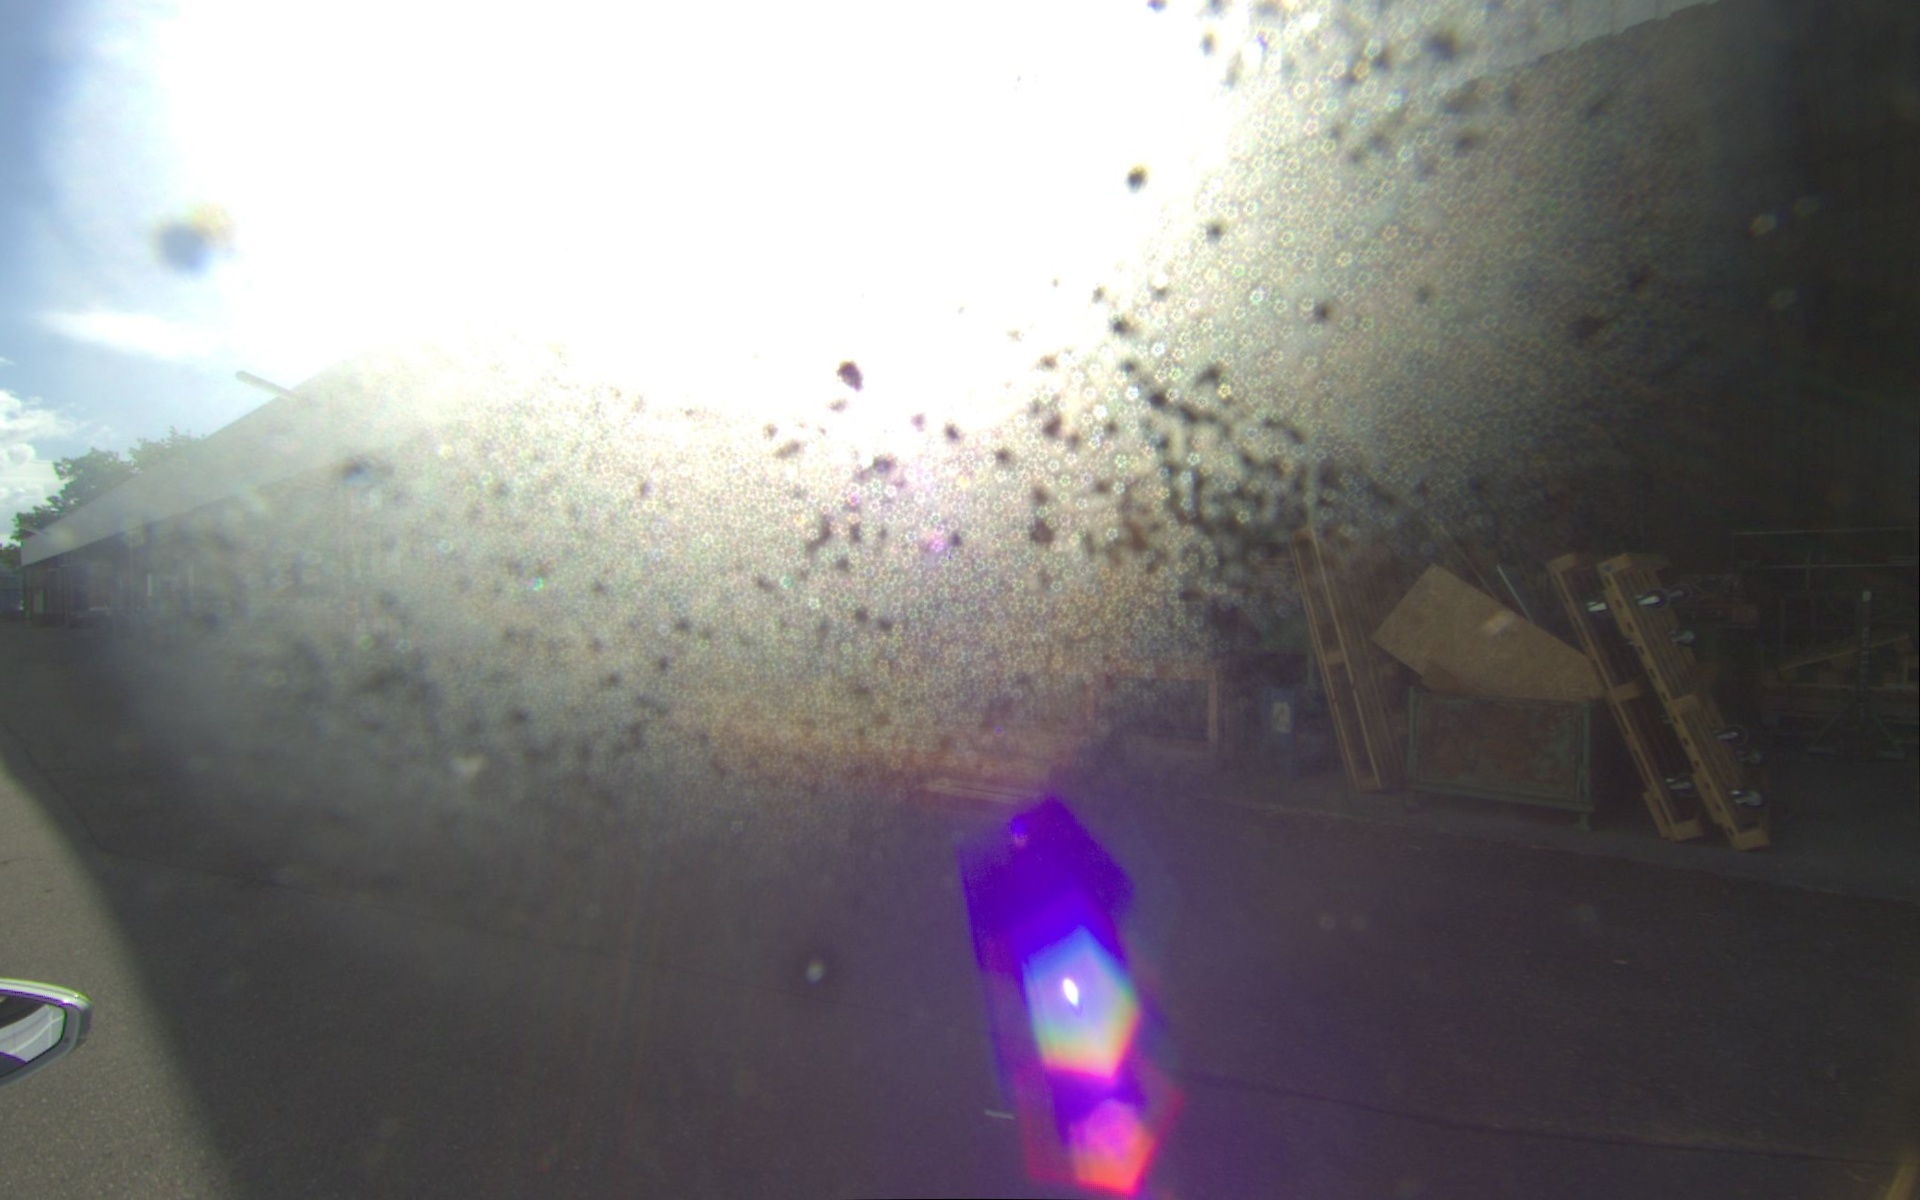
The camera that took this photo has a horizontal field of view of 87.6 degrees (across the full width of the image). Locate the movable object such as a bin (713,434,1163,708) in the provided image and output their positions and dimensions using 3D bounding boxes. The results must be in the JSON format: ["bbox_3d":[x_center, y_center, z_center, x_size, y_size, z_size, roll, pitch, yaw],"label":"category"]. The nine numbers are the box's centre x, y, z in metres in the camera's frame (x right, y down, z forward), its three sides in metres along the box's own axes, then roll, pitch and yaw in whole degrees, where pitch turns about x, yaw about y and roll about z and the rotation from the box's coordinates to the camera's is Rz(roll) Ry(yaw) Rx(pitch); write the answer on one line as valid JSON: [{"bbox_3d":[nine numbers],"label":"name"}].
[{"bbox_3d":[0.014,-0.385,14.017,2.656,2.945,6.316,1,2,43],"label":"movable object such as a bin"}]

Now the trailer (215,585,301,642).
[{"bbox_3d":[-20.061,0.380,28.609,1.889,1.539,1.539,3,1,39],"label":"trailer"}]

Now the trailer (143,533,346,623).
[{"bbox_3d":[-29.523,-0.908,41.542,2.793,3.416,6.353,1,2,42],"label":"trailer"}]

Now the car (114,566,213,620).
[{"bbox_3d":[-38.346,-0.370,48.249,1.979,2.475,3.484,1,2,44],"label":"car"}]

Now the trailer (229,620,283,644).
[{"bbox_3d":[-18.218,0.833,25.919,0.723,0.575,0.967,3,0,39],"label":"trailer"}]

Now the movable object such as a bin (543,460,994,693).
[{"bbox_3d":[-2.704,-0.376,16.109,2.656,2.945,6.895,1,2,43],"label":"movable object such as a bin"}]
